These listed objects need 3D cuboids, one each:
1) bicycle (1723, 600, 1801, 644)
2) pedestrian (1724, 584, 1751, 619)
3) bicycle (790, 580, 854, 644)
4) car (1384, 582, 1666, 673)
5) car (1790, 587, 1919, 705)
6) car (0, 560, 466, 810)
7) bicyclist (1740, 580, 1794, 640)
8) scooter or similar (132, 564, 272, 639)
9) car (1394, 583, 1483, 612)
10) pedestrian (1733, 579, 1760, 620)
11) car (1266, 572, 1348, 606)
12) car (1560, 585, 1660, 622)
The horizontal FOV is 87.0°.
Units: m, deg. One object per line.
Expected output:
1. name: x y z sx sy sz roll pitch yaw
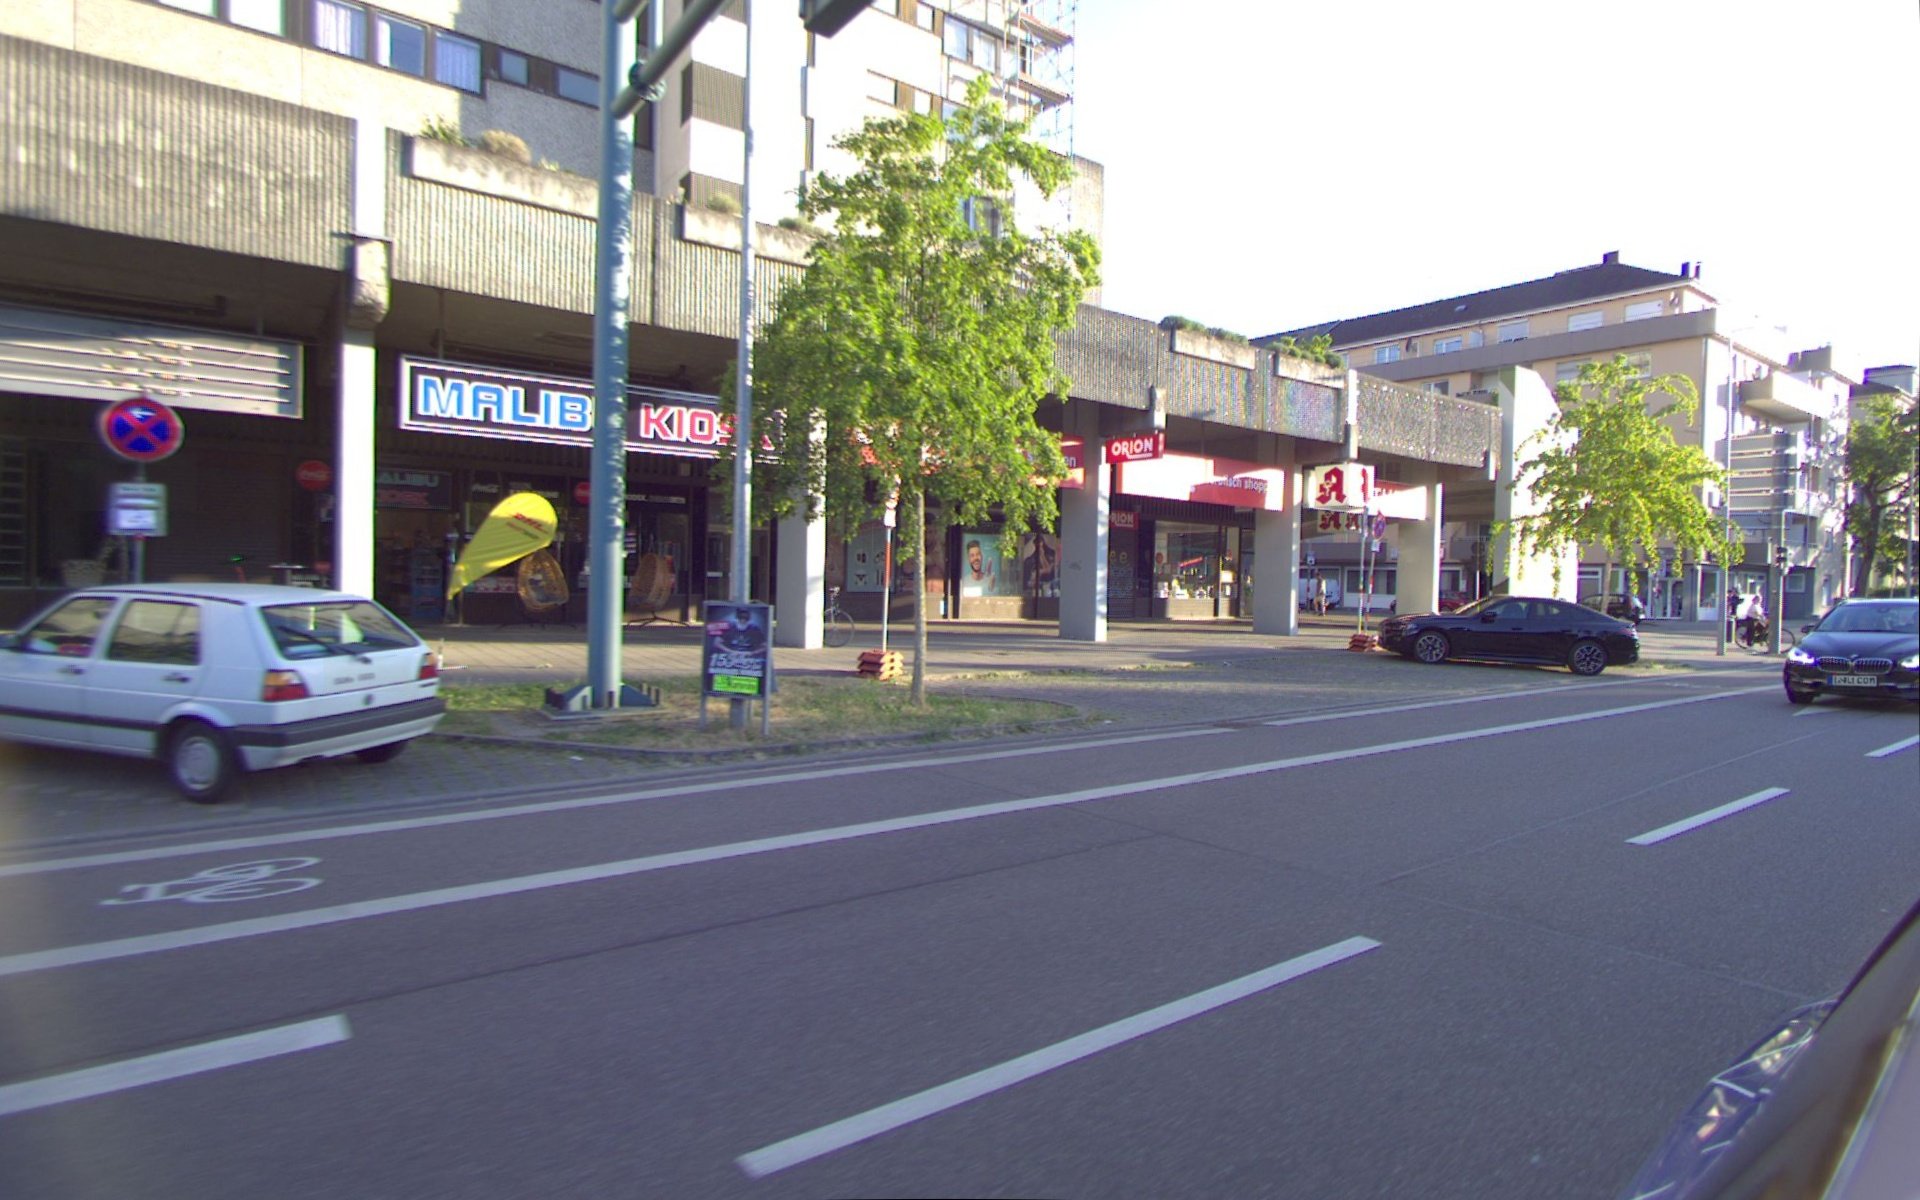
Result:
1. bicycle: 23.983 0.637 30.318 0.806 1.188 2.144 2 2 8
2. pedestrian: 36.920 0.060 48.061 0.752 1.635 0.822 -1 2 -35
3. bicycle: -2.561 0.196 18.658 0.425 1.061 1.577 1 3 -37
4. car: 11.216 0.493 20.443 4.537 1.471 1.807 3 2 13
5. car: 14.182 0.606 15.024 4.702 1.538 1.826 0 0 -37
6. car: -6.128 0.495 7.902 3.935 1.434 1.743 3 3 16
7. bicyclist: 23.965 0.287 30.067 0.806 1.713 0.959 2 2 8
8. scooter or similar: -12.470 0.031 16.690 0.401 1.176 1.802 -1 -1 43
9. car: 26.868 -0.175 56.916 1.629 1.457 4.222 -4 4 -41
10. pedestrian: 36.692 -0.027 47.208 0.534 1.882 0.840 -1 2 -36
11. car: 21.755 -0.720 63.566 1.964 1.886 4.538 -5 5 -37
12. car: 32.000 0.115 49.908 1.586 1.578 3.816 -4 4 -36
